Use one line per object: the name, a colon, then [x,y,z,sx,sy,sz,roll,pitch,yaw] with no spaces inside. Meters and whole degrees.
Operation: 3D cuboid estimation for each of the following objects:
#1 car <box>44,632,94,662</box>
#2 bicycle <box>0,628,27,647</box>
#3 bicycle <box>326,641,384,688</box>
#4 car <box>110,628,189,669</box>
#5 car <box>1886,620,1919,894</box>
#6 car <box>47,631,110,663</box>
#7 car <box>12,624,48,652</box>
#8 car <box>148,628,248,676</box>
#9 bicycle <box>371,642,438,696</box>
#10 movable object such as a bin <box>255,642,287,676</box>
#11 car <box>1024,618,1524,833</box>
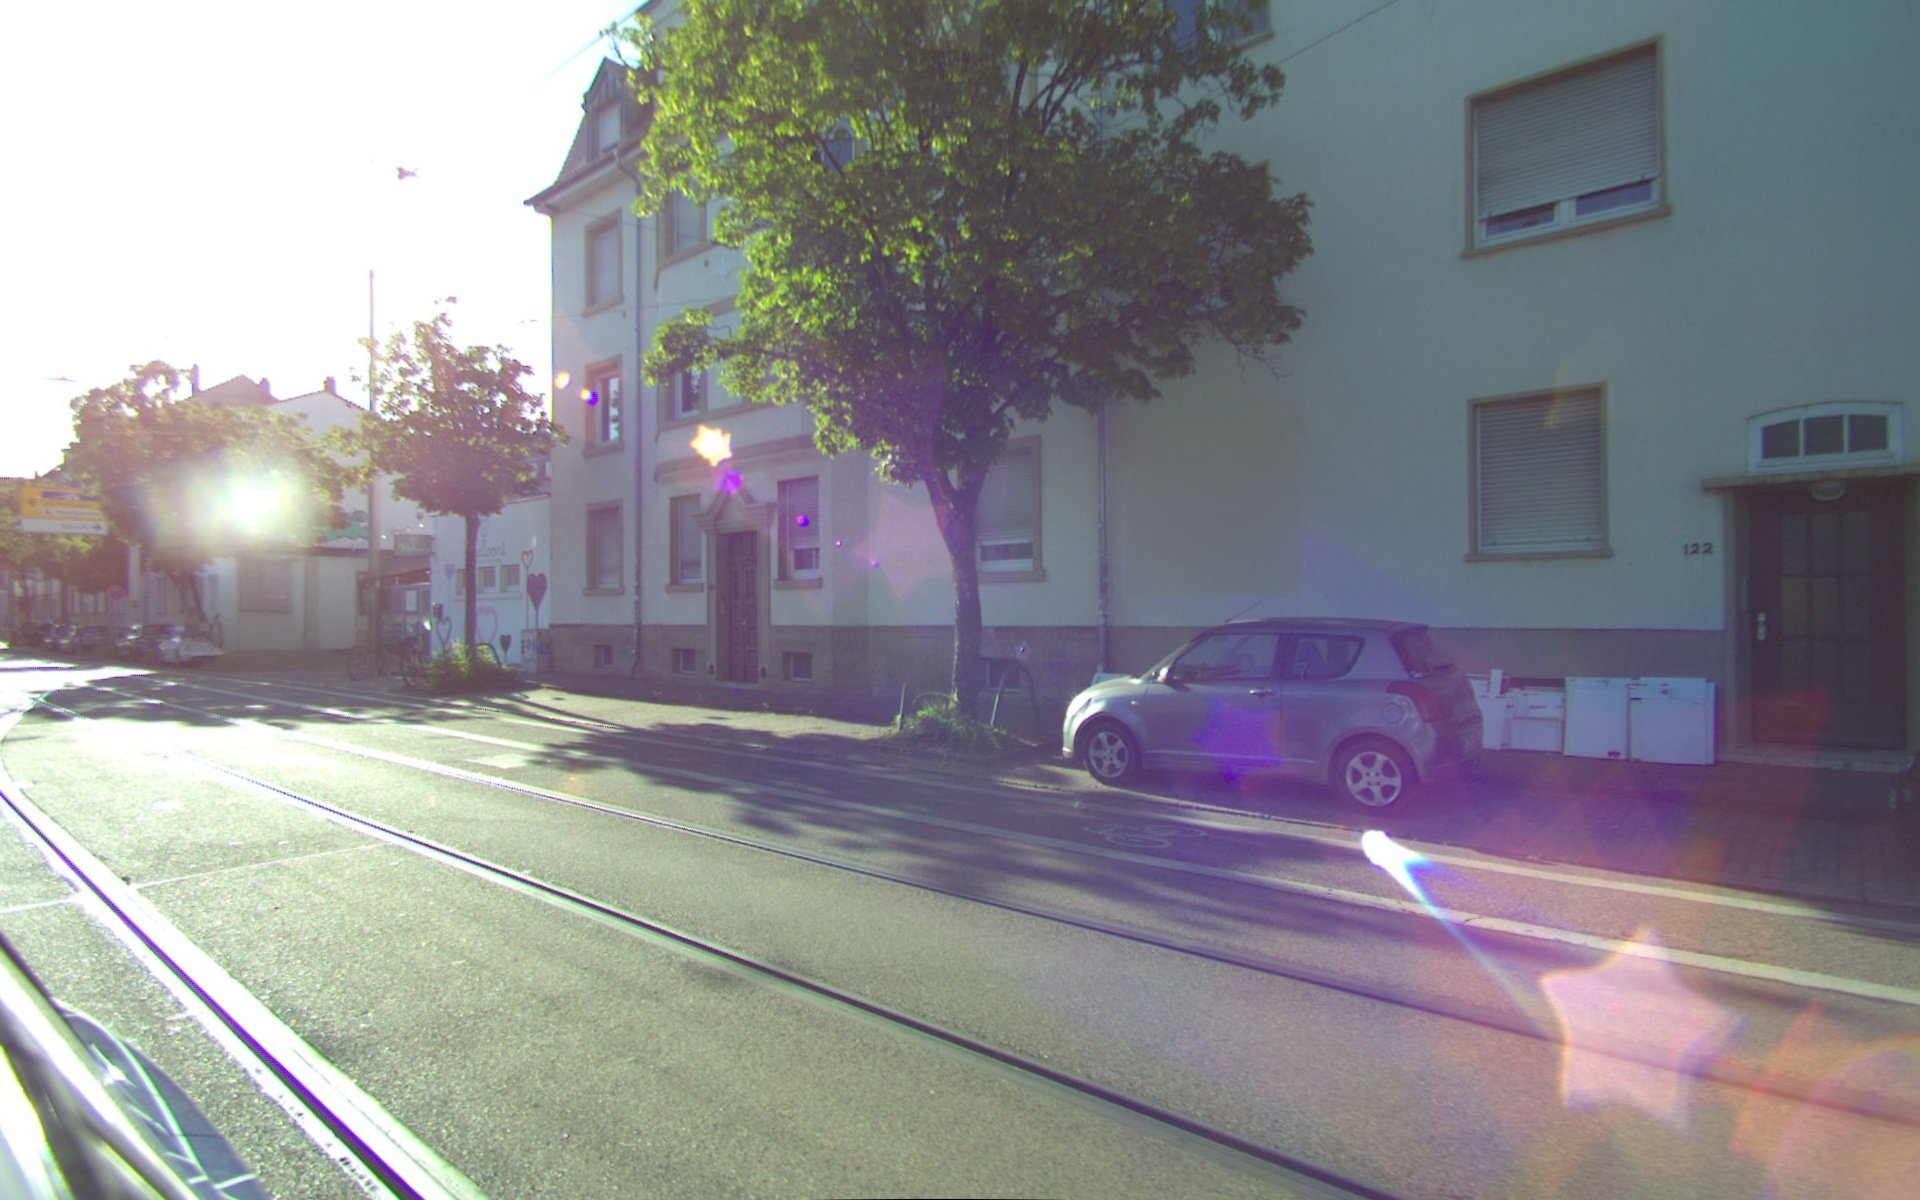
car: [-47.766,2.488,54.211,3.999,1.516,1.555,-1,-1,42]
bicycle: [-62.152,2.448,66.439,0.409,1.178,1.326,-1,-1,42]
bicycle: [-14.858,1.567,24.882,0.658,1.048,1.791,-1,0,-11]
car: [-32.204,1.884,40.168,4.303,1.497,1.754,-1,-1,42]
car: [7.170,0.821,4.686,4.188,1.435,1.634,-1,-1,42]
car: [-43.644,2.282,50.065,4.291,1.440,1.853,-1,-1,42]
car: [-56.483,2.310,61.457,2.546,1.514,1.341,-5,-3,42]
car: [-26.333,1.745,34.923,4.659,1.502,1.845,-1,-1,41]
bicycle: [-12.193,1.494,22.283,0.524,1.048,1.989,-1,0,-5]
movable object such as a bin: [-20.790,1.776,30.540,0.702,0.966,0.576,-1,3,42]
car: [2.657,0.934,9.149,3.999,1.502,1.634,-1,-1,42]
